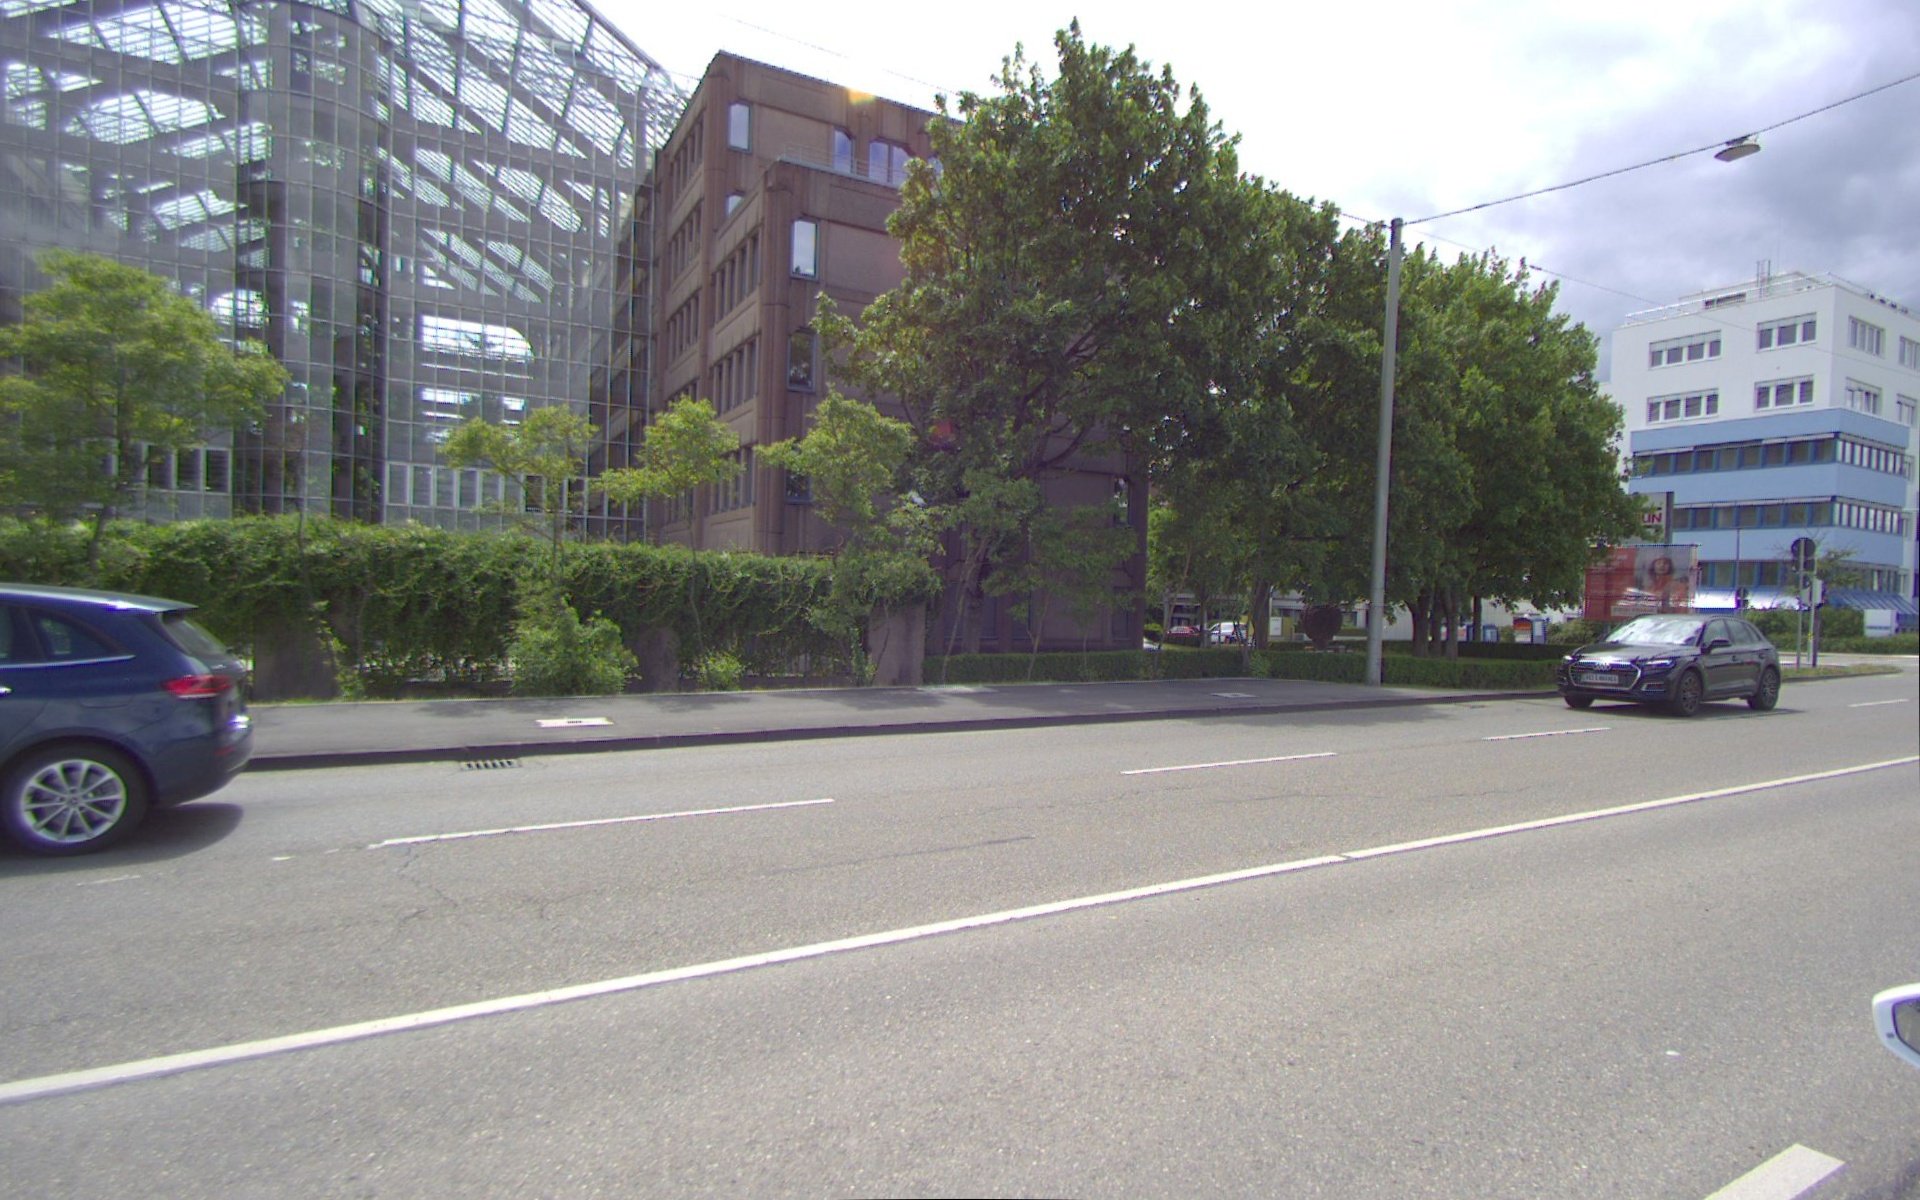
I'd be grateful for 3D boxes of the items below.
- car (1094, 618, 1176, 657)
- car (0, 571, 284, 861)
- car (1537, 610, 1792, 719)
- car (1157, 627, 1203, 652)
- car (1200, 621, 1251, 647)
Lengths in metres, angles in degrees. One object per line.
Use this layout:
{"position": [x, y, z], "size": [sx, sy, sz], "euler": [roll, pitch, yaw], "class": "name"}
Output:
{"position": [8.353, 1.805, 48.205], "size": [1.765, 1.750, 3.970], "euler": [1, -3, -29], "class": "car"}
{"position": [-6.577, 0.627, 5.835], "size": [4.264, 1.606, 1.787], "euler": [1, -1, -32], "class": "car"}
{"position": [12.208, 1.066, 17.347], "size": [4.518, 1.636, 1.859], "euler": [2, 0, -30], "class": "car"}
{"position": [19.736, 3.513, 90.230], "size": [1.869, 2.040, 3.971], "euler": [2, 0, -27], "class": "car"}
{"position": [22.432, 2.900, 85.069], "size": [1.975, 2.006, 3.971], "euler": [2, 0, -27], "class": "car"}
